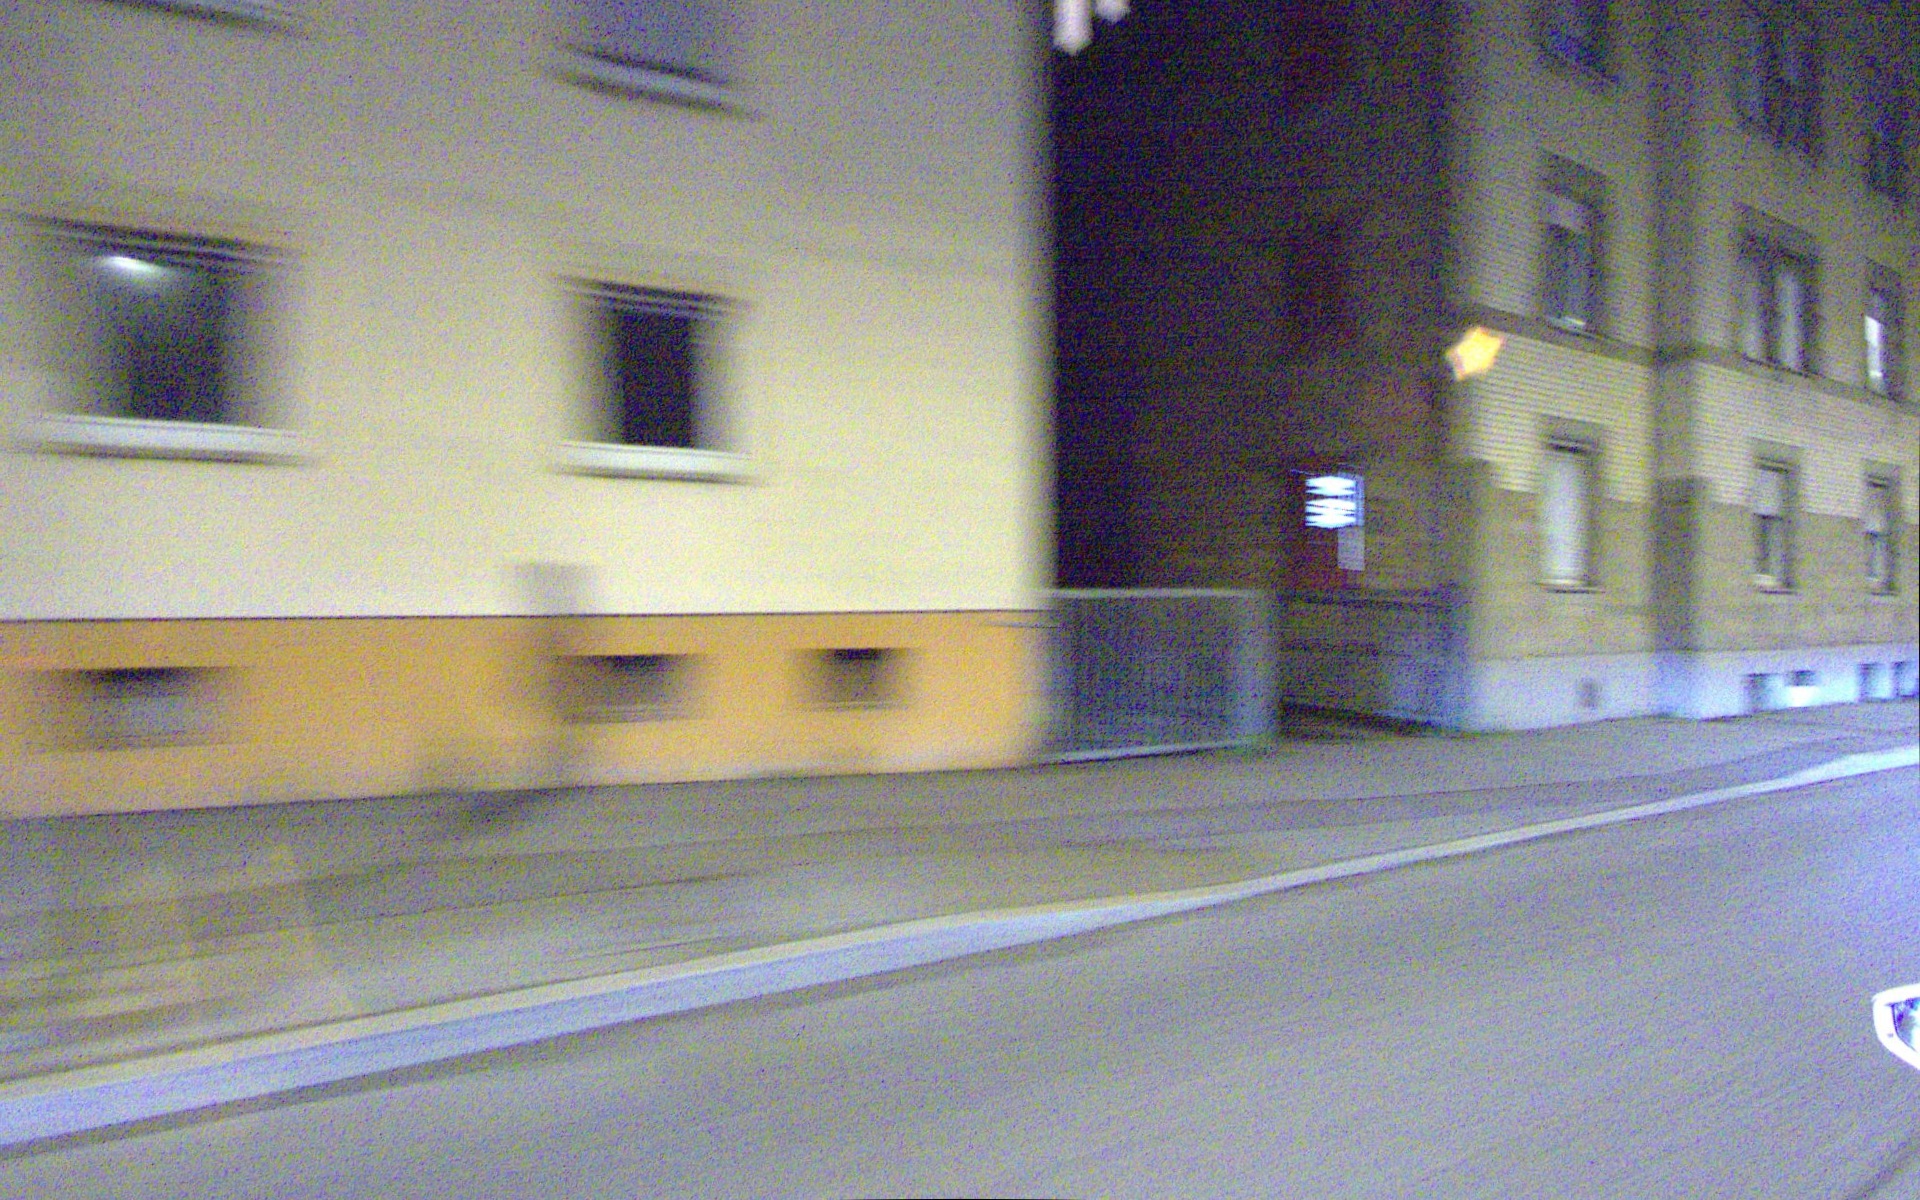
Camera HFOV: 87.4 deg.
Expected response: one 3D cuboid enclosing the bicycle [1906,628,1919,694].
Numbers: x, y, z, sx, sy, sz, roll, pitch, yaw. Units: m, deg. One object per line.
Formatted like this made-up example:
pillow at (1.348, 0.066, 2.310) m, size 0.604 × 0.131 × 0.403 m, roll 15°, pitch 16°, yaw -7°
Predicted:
bicycle at (16.269, 0.997, 16.496) m, size 1.701 × 1.065 × 0.616 m, roll 1°, pitch 0°, yaw -30°
